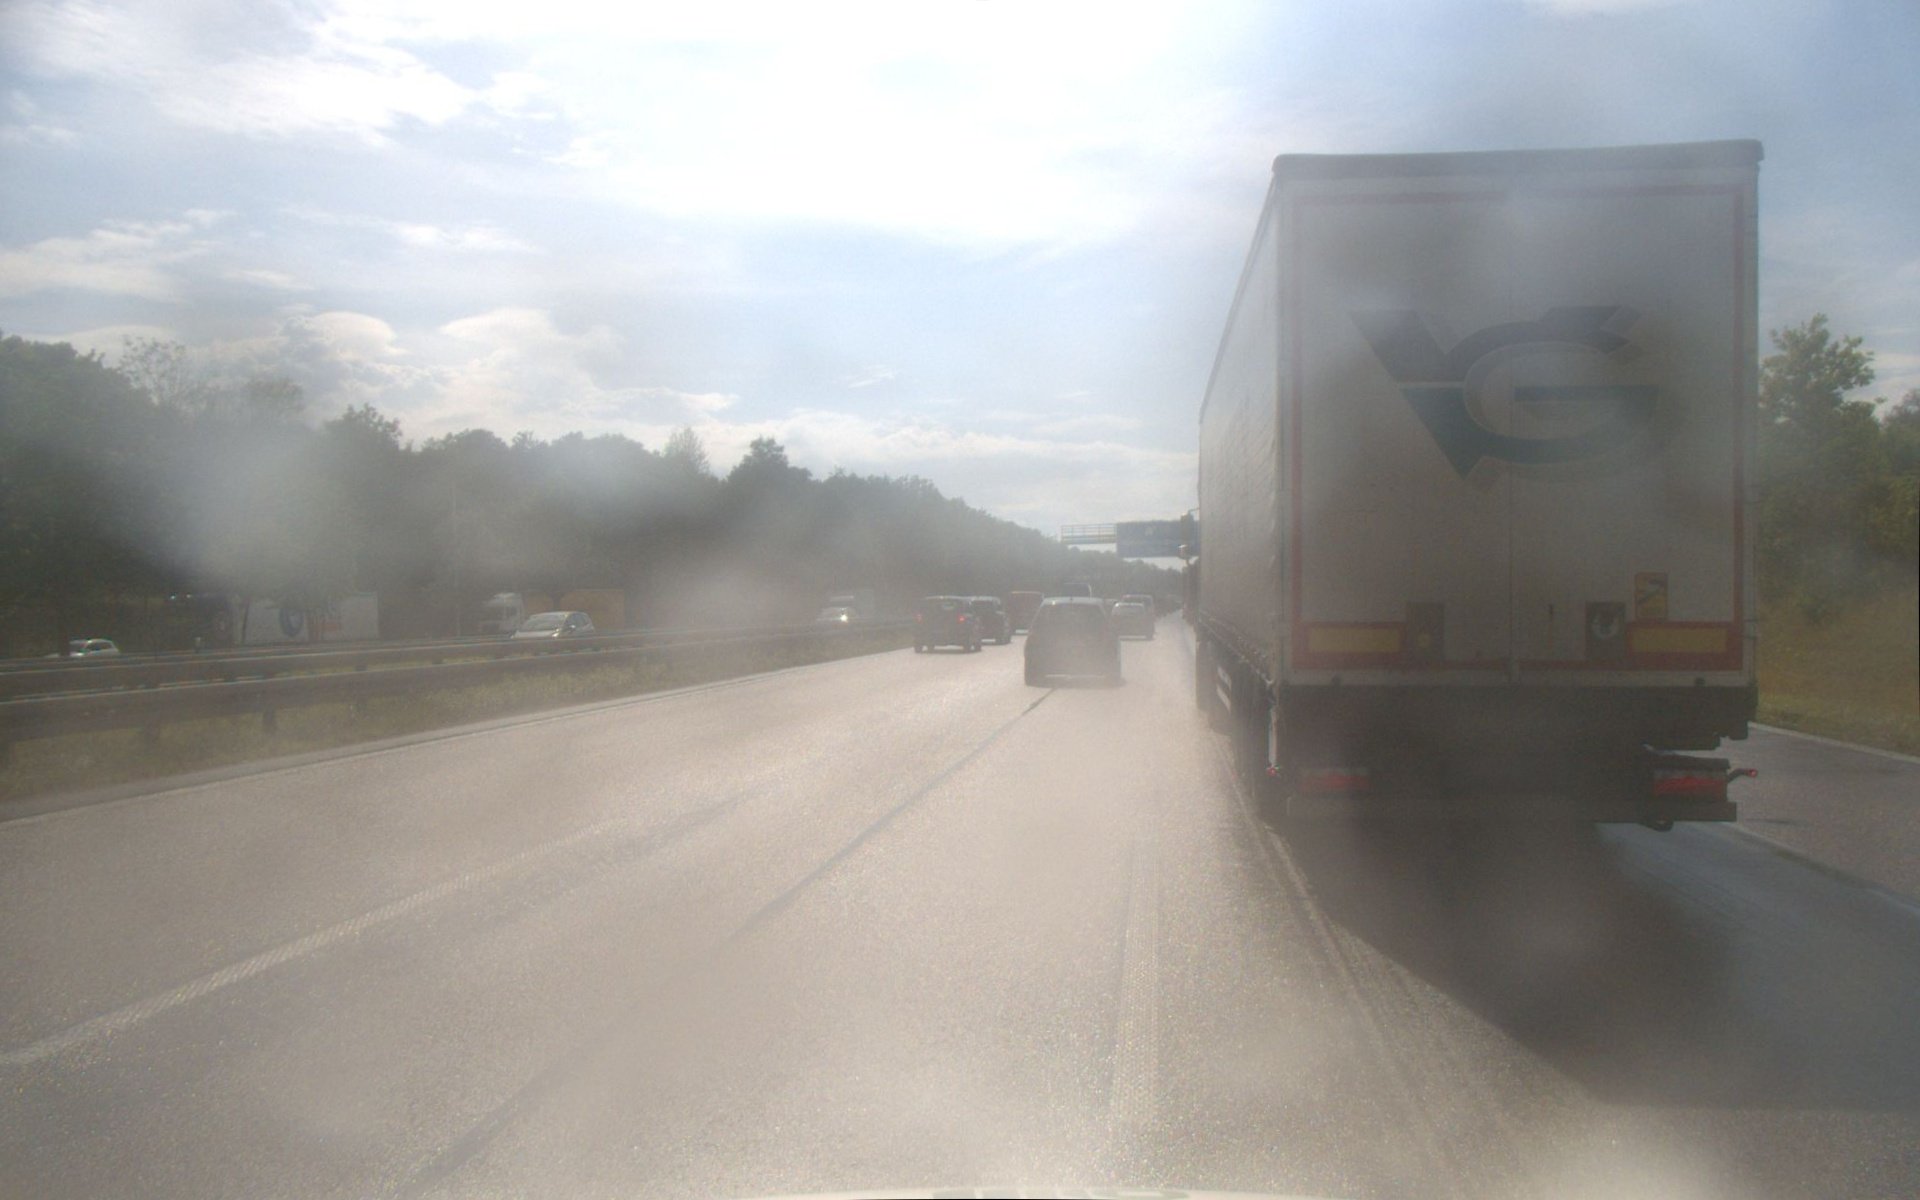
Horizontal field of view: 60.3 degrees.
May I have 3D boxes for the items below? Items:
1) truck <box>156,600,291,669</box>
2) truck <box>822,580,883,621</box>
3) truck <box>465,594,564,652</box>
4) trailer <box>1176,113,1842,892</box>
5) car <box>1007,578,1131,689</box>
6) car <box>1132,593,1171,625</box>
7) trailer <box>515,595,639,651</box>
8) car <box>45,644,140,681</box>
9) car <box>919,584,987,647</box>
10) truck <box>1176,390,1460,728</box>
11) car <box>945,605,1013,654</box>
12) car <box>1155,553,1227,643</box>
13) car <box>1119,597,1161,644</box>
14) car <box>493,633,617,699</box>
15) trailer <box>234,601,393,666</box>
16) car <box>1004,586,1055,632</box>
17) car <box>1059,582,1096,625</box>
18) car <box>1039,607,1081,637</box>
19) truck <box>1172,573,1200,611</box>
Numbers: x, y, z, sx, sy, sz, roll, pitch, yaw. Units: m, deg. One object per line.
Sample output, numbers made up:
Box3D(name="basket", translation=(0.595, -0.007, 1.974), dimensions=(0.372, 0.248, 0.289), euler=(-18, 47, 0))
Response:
Box3D(name="truck", translation=(-41.831, 1.939, 94.144), dimensions=(3.707, 3.724, 6.710), euler=(0, -1, 13))
Box3D(name="truck", translation=(-7.355, 0.101, 114.204), dimensions=(2.782, 2.729, 7.197), euler=(0, -1, 8))
Box3D(name="truck", translation=(-33.175, 1.708, 123.458), dimensions=(3.709, 4.189, 7.046), euler=(0, -1, 21))
Box3D(name="trailer", translation=(3.737, -0.499, 15.630), dimensions=(3.214, 3.967, 14.138), euler=(1, 0, 7))
Box3D(name="car", translation=(2.219, 0.628, 32.400), dimensions=(2.226, 1.989, 4.824), euler=(0, -1, 6))
Box3D(name="car", translation=(9.408, 0.451, 81.561), dimensions=(1.825, 1.542, 3.978), euler=(0, -1, 5))
Box3D(name="trailer", translation=(-30.206, 1.812, 131.351), dimensions=(3.709, 4.189, 11.726), euler=(0, -1, 20))
Box3D(name="car", translation=(-44.181, 3.169, 84.344), dimensions=(2.015, 1.748, 4.371), euler=(0, -1, 10))
Box3D(name="car", translation=(-0.173, 0.473, 50.721), dimensions=(1.656, 1.836, 3.978), euler=(0, -1, 6))
Box3D(name="truck", translation=(4.633, -0.493, 22.740), dimensions=(3.214, 3.959, 6.401), euler=(1, 0, 7))
Box3D(name="car", translation=(0.746, 1.058, 59.916), dimensions=(1.868, 1.665, 4.620), euler=(-1, -1, 8))
Box3D(name="car", translation=(16.226, -0.063, 117.438), dimensions=(4.311, 5.932, 16.827), euler=(0, -1, 5))
Box3D(name="car", translation=(7.299, 0.833, 67.372), dimensions=(1.656, 1.836, 3.978), euler=(0, -1, 6))
Box3D(name="car", translation=(-12.700, 2.044, 52.228), dimensions=(2.251, 1.924, 4.782), euler=(0, -1, 7))
Box3D(name="trailer", translation=(-39.835, 1.989, 102.426), dimensions=(3.708, 3.713, 10.505), euler=(-1, 0, 14))
Box3D(name="car", translation=(3.308, 0.450, 77.719), dimensions=(1.936, 2.090, 4.760), euler=(0, -1, 8))
Box3D(name="car", translation=(7.595, 0.252, 106.468), dimensions=(1.951, 2.661, 5.263), euler=(0, -1, 8))
Box3D(name="car", translation=(5.542, 1.196, 91.357), dimensions=(1.951, 1.592, 4.760), euler=(0, -1, 8))
Box3D(name="truck", translation=(22.447, -0.731, 164.364), dimensions=(2.716, 3.695, 5.921), euler=(0, -1, 8))
